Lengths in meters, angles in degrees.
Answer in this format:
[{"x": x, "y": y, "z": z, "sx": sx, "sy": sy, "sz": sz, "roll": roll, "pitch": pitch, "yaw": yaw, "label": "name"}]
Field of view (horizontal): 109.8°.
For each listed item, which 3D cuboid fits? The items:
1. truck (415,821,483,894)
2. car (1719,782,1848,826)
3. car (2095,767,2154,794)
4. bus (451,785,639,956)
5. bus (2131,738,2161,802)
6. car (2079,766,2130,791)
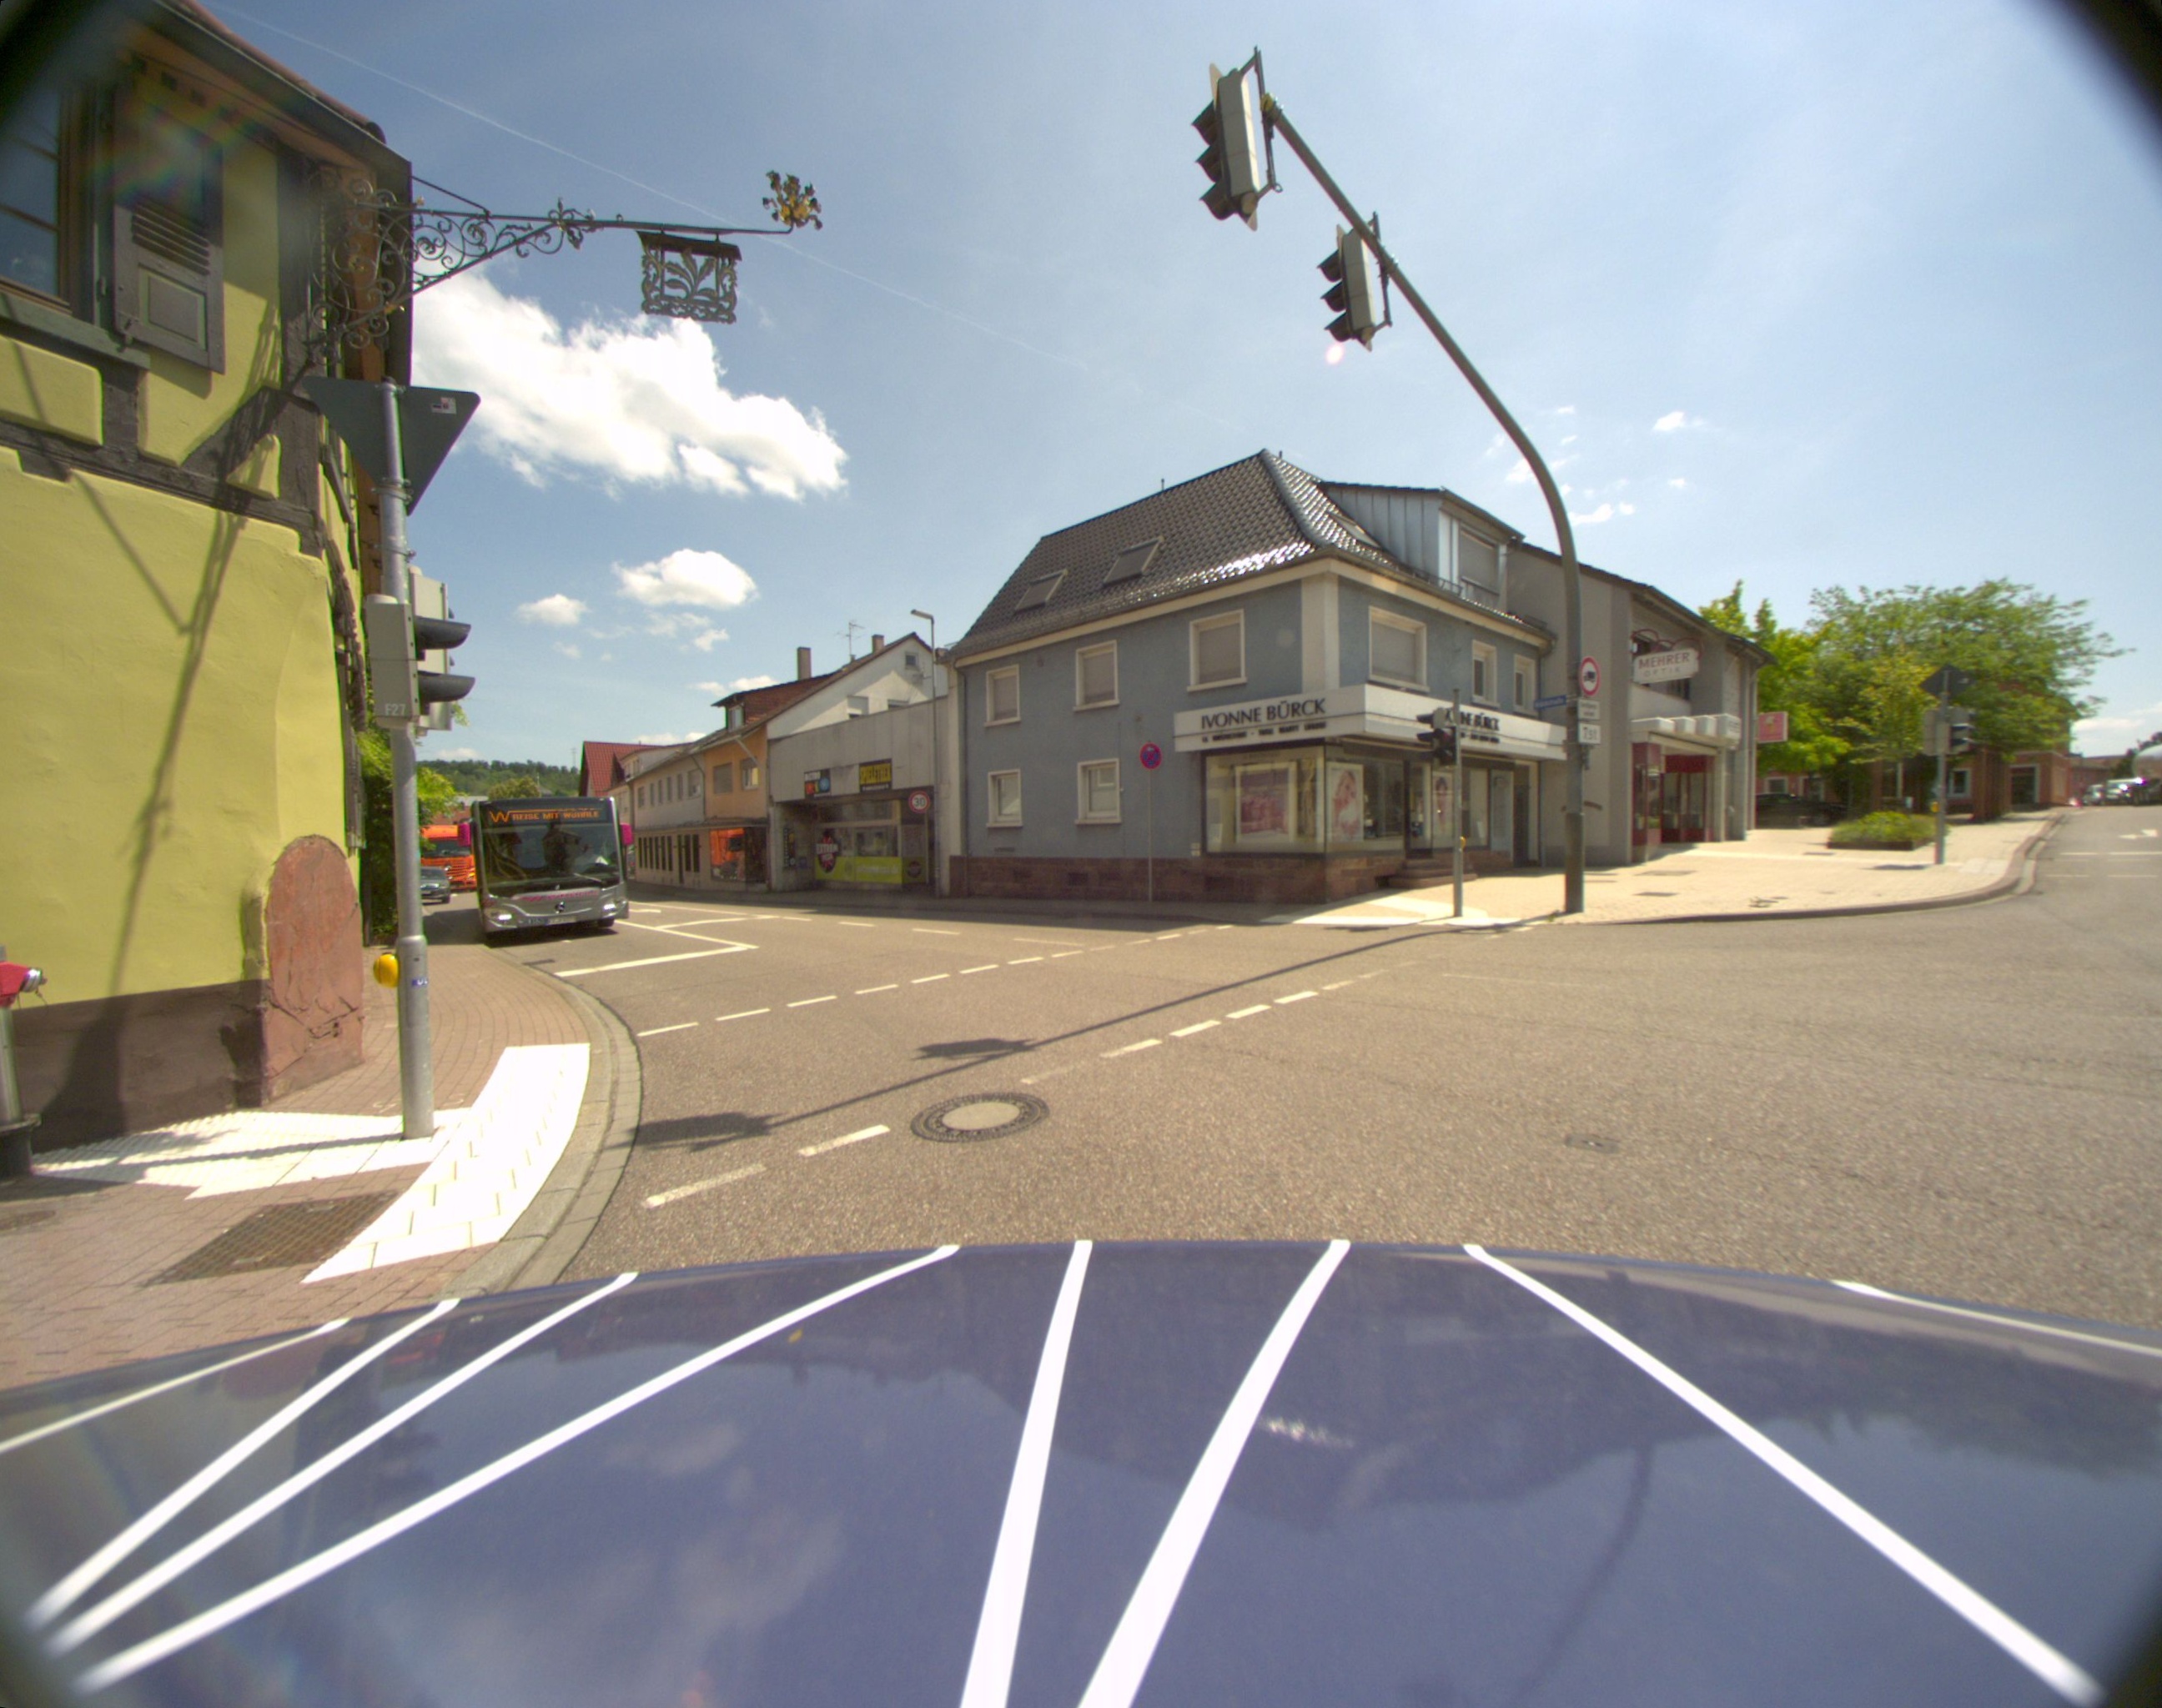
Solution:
[{"x": -38.891, "y": 0.256, "z": 46.790, "sx": 2.621, "sy": 3.924, "sz": 9.965, "roll": -6, "pitch": 3, "yaw": -40, "label": "truck"}, {"x": 32.103, "y": -2.258, "z": 34.814, "sx": 2.003, "sy": 1.669, "sz": 3.990, "roll": -3, "pitch": 1, "yaw": -36, "label": "car"}, {"x": 71.973, "y": -5.083, "z": 52.470, "sx": 4.006, "sy": 1.627, "sz": 1.995, "roll": -5, "pitch": 2, "yaw": -41, "label": "car"}, {"x": -16.356, "y": 0.424, "z": 22.409, "sx": 2.866, "sy": 3.186, "sz": 18.982, "roll": -4, "pitch": 1, "yaw": -38, "label": "bus"}, {"x": 55.549, "y": -4.303, "z": 37.734, "sx": 12.672, "sy": 3.151, "sz": 2.541, "roll": -5, "pitch": 2, "yaw": -42, "label": "bus"}, {"x": 77.529, "y": -5.679, "z": 57.605, "sx": 4.007, "sy": 1.627, "sz": 1.995, "roll": -5, "pitch": 2, "yaw": -41, "label": "car"}]
